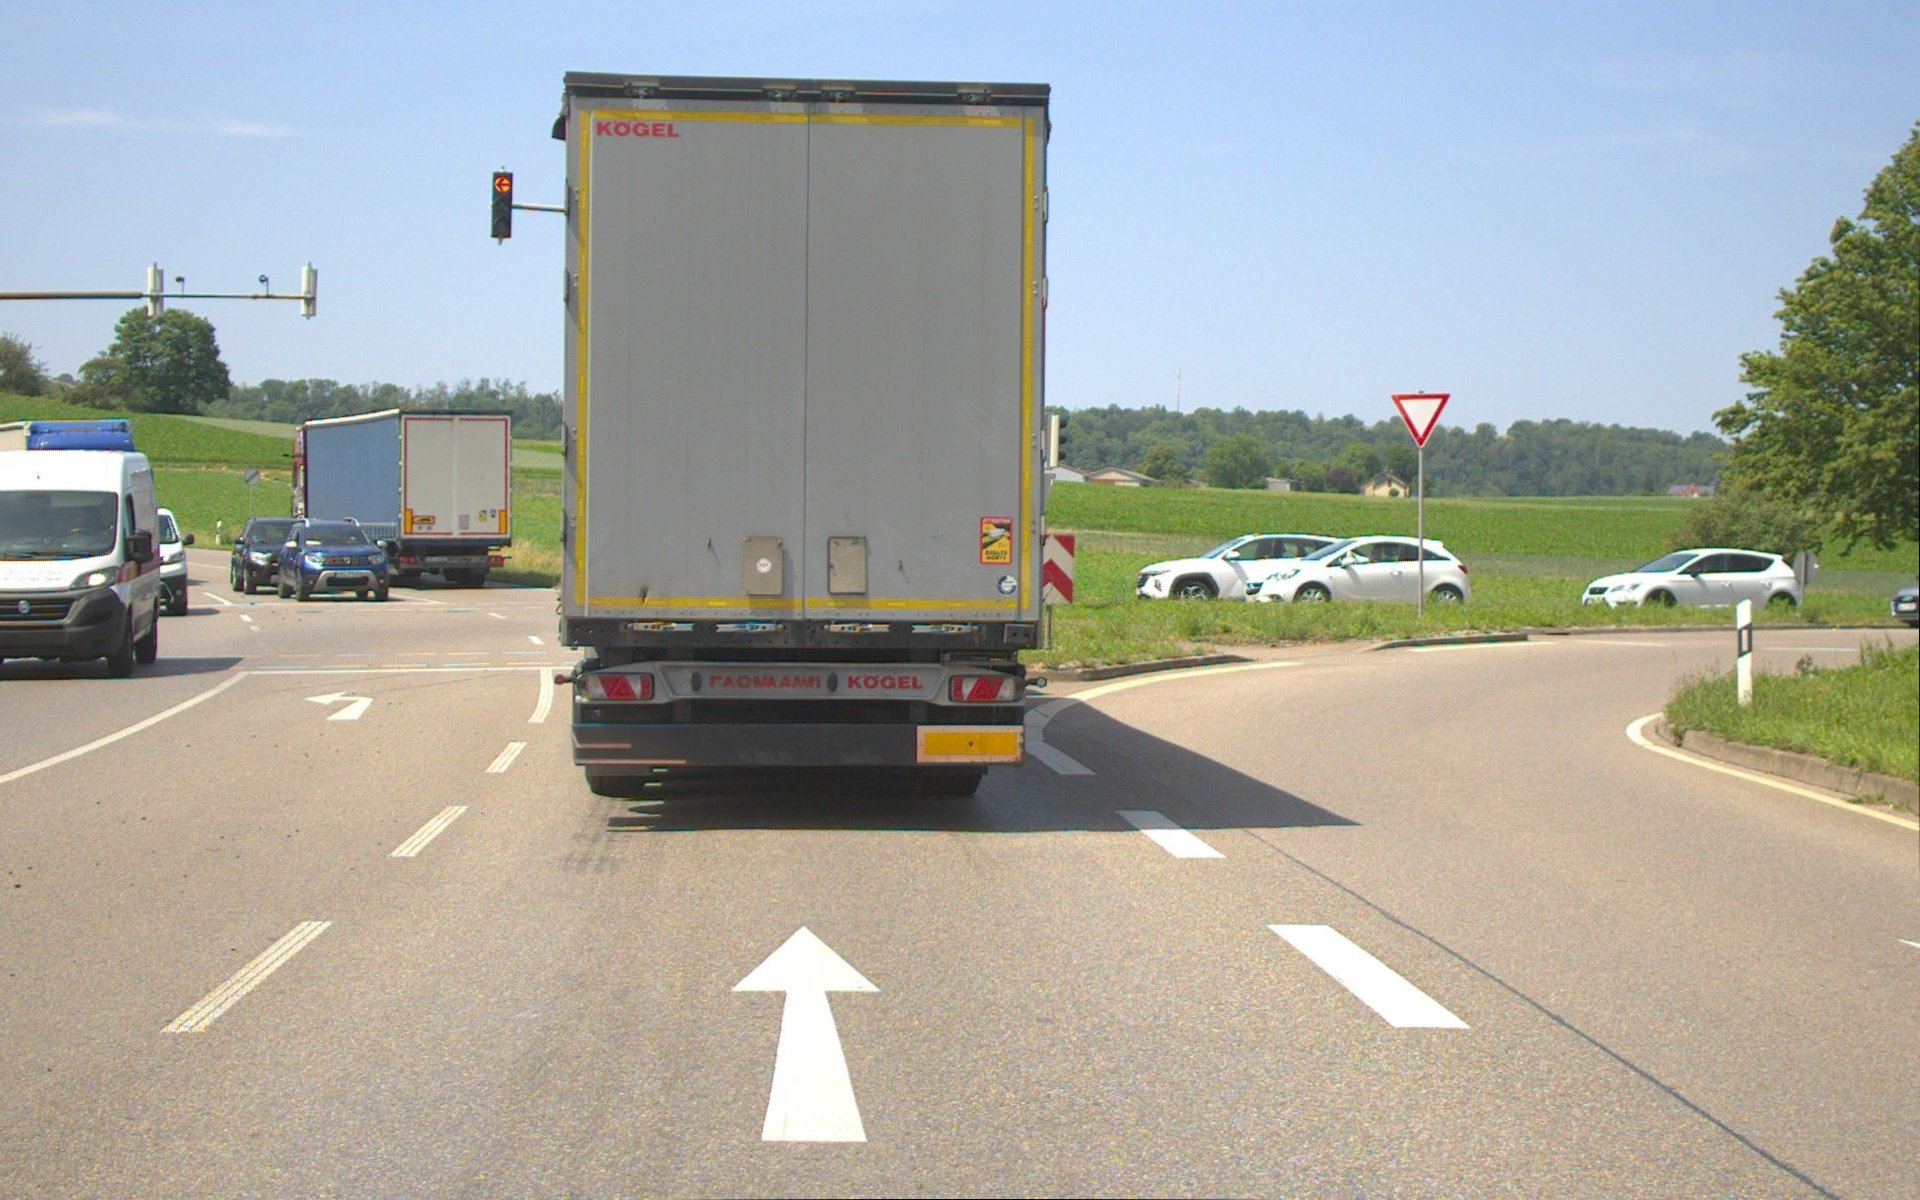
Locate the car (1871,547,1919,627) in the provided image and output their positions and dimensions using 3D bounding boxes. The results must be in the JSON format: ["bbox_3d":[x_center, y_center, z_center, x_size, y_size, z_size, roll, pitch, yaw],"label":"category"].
[{"bbox_3d":[19.858,-0.203,65.837,4.546,1.505,1.801,1,0,-25],"label":"car"}]

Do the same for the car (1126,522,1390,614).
[{"bbox_3d":[5.640,-0.586,65.326,4.625,1.602,1.999,1,-1,-8],"label":"car"}]

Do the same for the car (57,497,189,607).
[{"bbox_3d":[-15.080,-0.870,61.789,1.870,1.880,4.953,-1,1,-18],"label":"car"}]

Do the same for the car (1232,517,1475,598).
[{"bbox_3d":[7.012,-0.748,61.416,3.958,1.414,1.829,0,0,-11],"label":"car"}]

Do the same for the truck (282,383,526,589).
[{"bbox_3d":[-13.907,-2.829,84.395,2.960,4.568,16.322,-1,2,-20],"label":"truck"}]

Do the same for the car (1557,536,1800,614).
[{"bbox_3d":[13.300,-0.458,63.617,4.091,1.414,1.801,0,0,-22],"label":"car"}]

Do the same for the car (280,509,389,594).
[{"bbox_3d":[-12.719,-0.999,69.740,1.770,1.652,4.001,-1,1,-16],"label":"car"}]

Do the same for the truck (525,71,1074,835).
[{"bbox_3d":[-1.299,-0.832,22.692,2.807,3.932,9.593,1,1,-6],"label":"truck"}]

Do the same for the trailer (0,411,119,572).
[{"bbox_3d":[-24.973,-2.912,92.322,2.566,4.016,13.598,-1,2,-22],"label":"trailer"}]

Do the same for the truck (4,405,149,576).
[{"bbox_3d":[-21.684,-2.687,84.197,2.566,4.016,6.562,-1,2,-22],"label":"truck"}]

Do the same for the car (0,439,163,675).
[{"bbox_3d":[-10.152,-0.509,38.389,2.050,2.443,5.270,-1,2,-9],"label":"car"}]

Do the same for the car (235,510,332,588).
[{"bbox_3d":[-14.862,-1.132,75.405,1.770,1.652,4.001,-1,1,-15],"label":"car"}]
